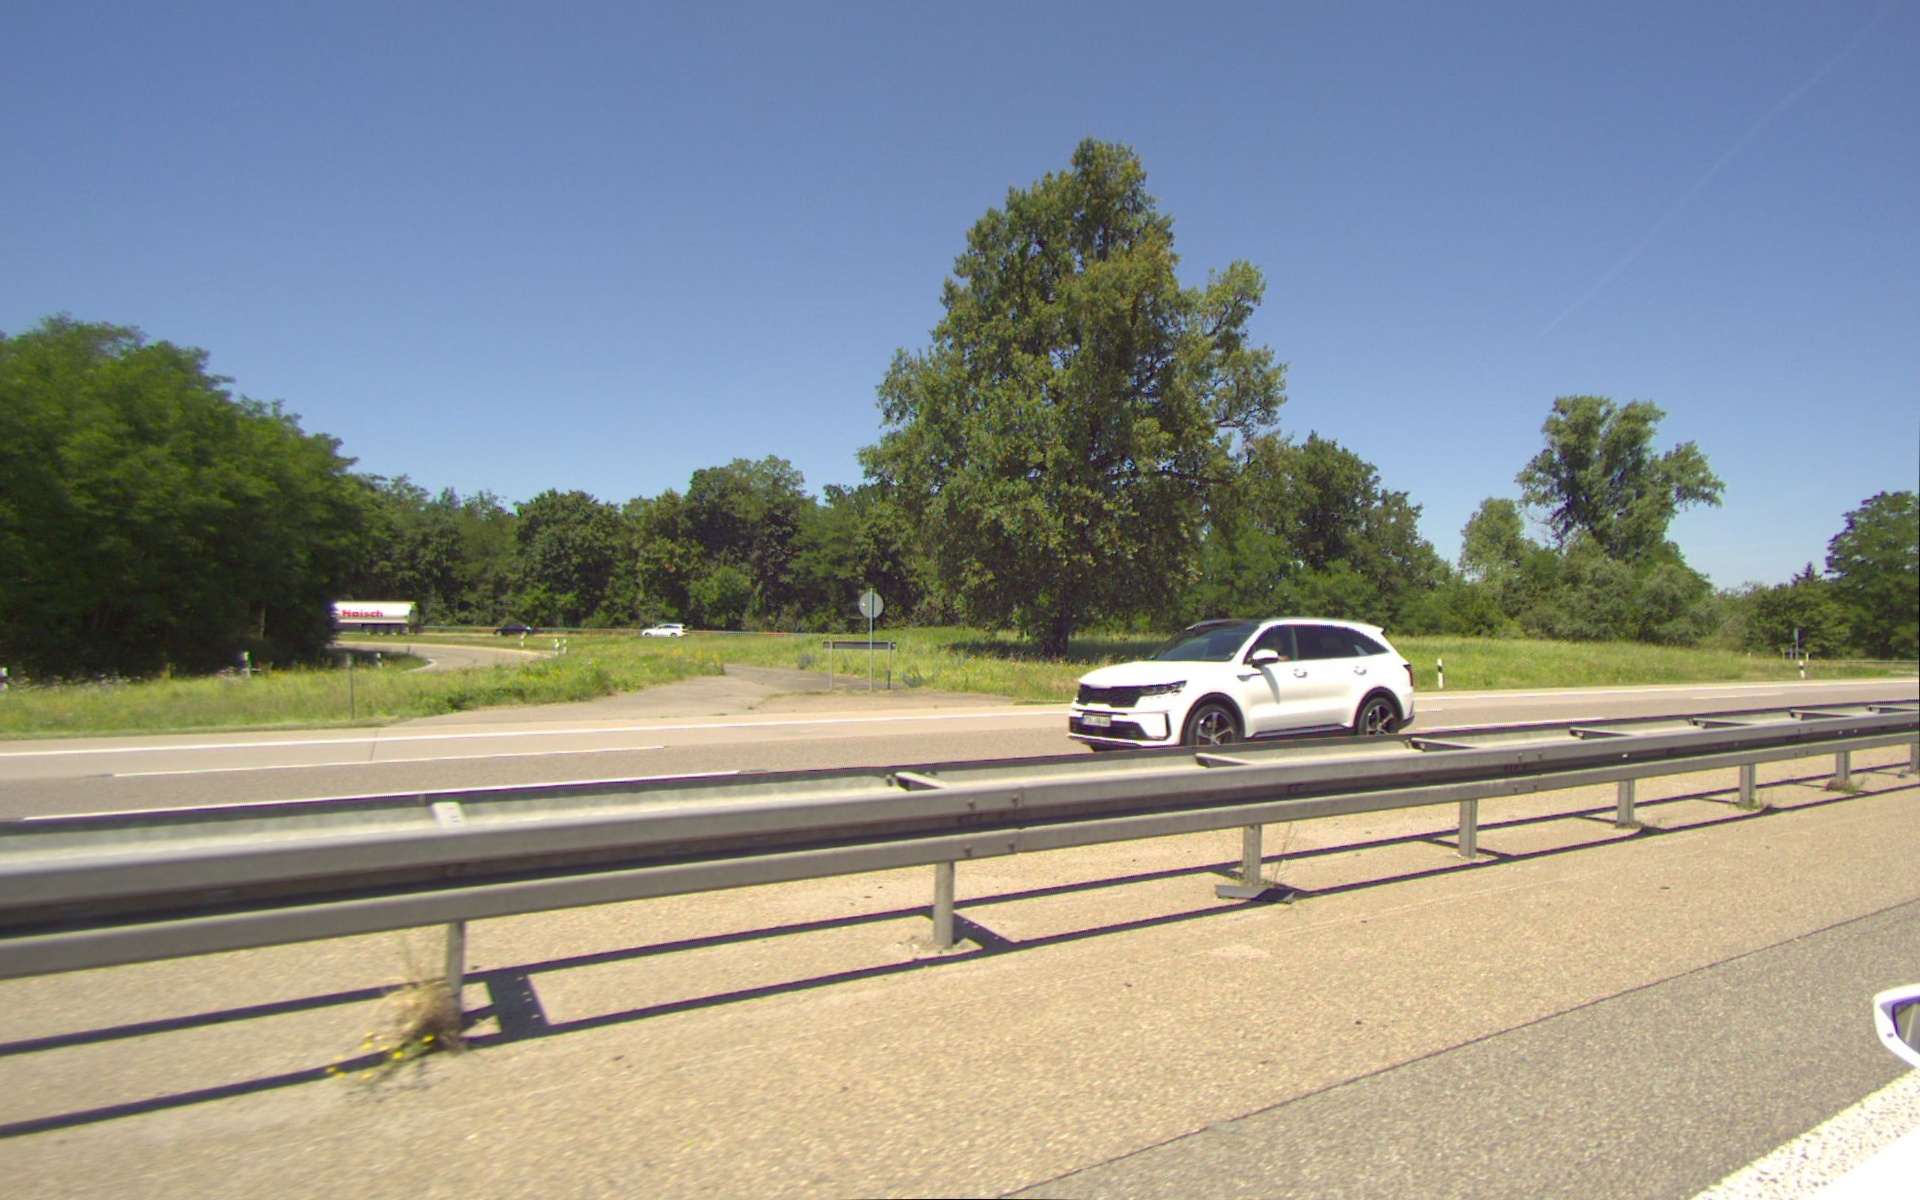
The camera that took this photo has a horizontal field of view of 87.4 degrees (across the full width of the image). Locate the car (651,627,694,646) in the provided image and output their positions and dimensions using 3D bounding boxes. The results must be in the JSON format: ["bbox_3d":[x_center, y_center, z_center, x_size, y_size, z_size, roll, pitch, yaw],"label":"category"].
[{"bbox_3d":[-30.166,3.873,105.554,3.919,1.840,1.788,1,0,7],"label":"car"}]

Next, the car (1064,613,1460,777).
[{"bbox_3d":[3.876,1.068,12.540,5.065,1.715,1.802,2,-2,-31],"label":"car"}]

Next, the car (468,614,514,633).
[{"bbox_3d":[-49.574,2.497,106.185,3.923,1.840,1.786,1,0,-3],"label":"car"}]

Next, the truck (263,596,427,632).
[{"bbox_3d":[-63.752,1.482,104.398,14.510,3.326,2.703,1,0,-9],"label":"truck"}]
